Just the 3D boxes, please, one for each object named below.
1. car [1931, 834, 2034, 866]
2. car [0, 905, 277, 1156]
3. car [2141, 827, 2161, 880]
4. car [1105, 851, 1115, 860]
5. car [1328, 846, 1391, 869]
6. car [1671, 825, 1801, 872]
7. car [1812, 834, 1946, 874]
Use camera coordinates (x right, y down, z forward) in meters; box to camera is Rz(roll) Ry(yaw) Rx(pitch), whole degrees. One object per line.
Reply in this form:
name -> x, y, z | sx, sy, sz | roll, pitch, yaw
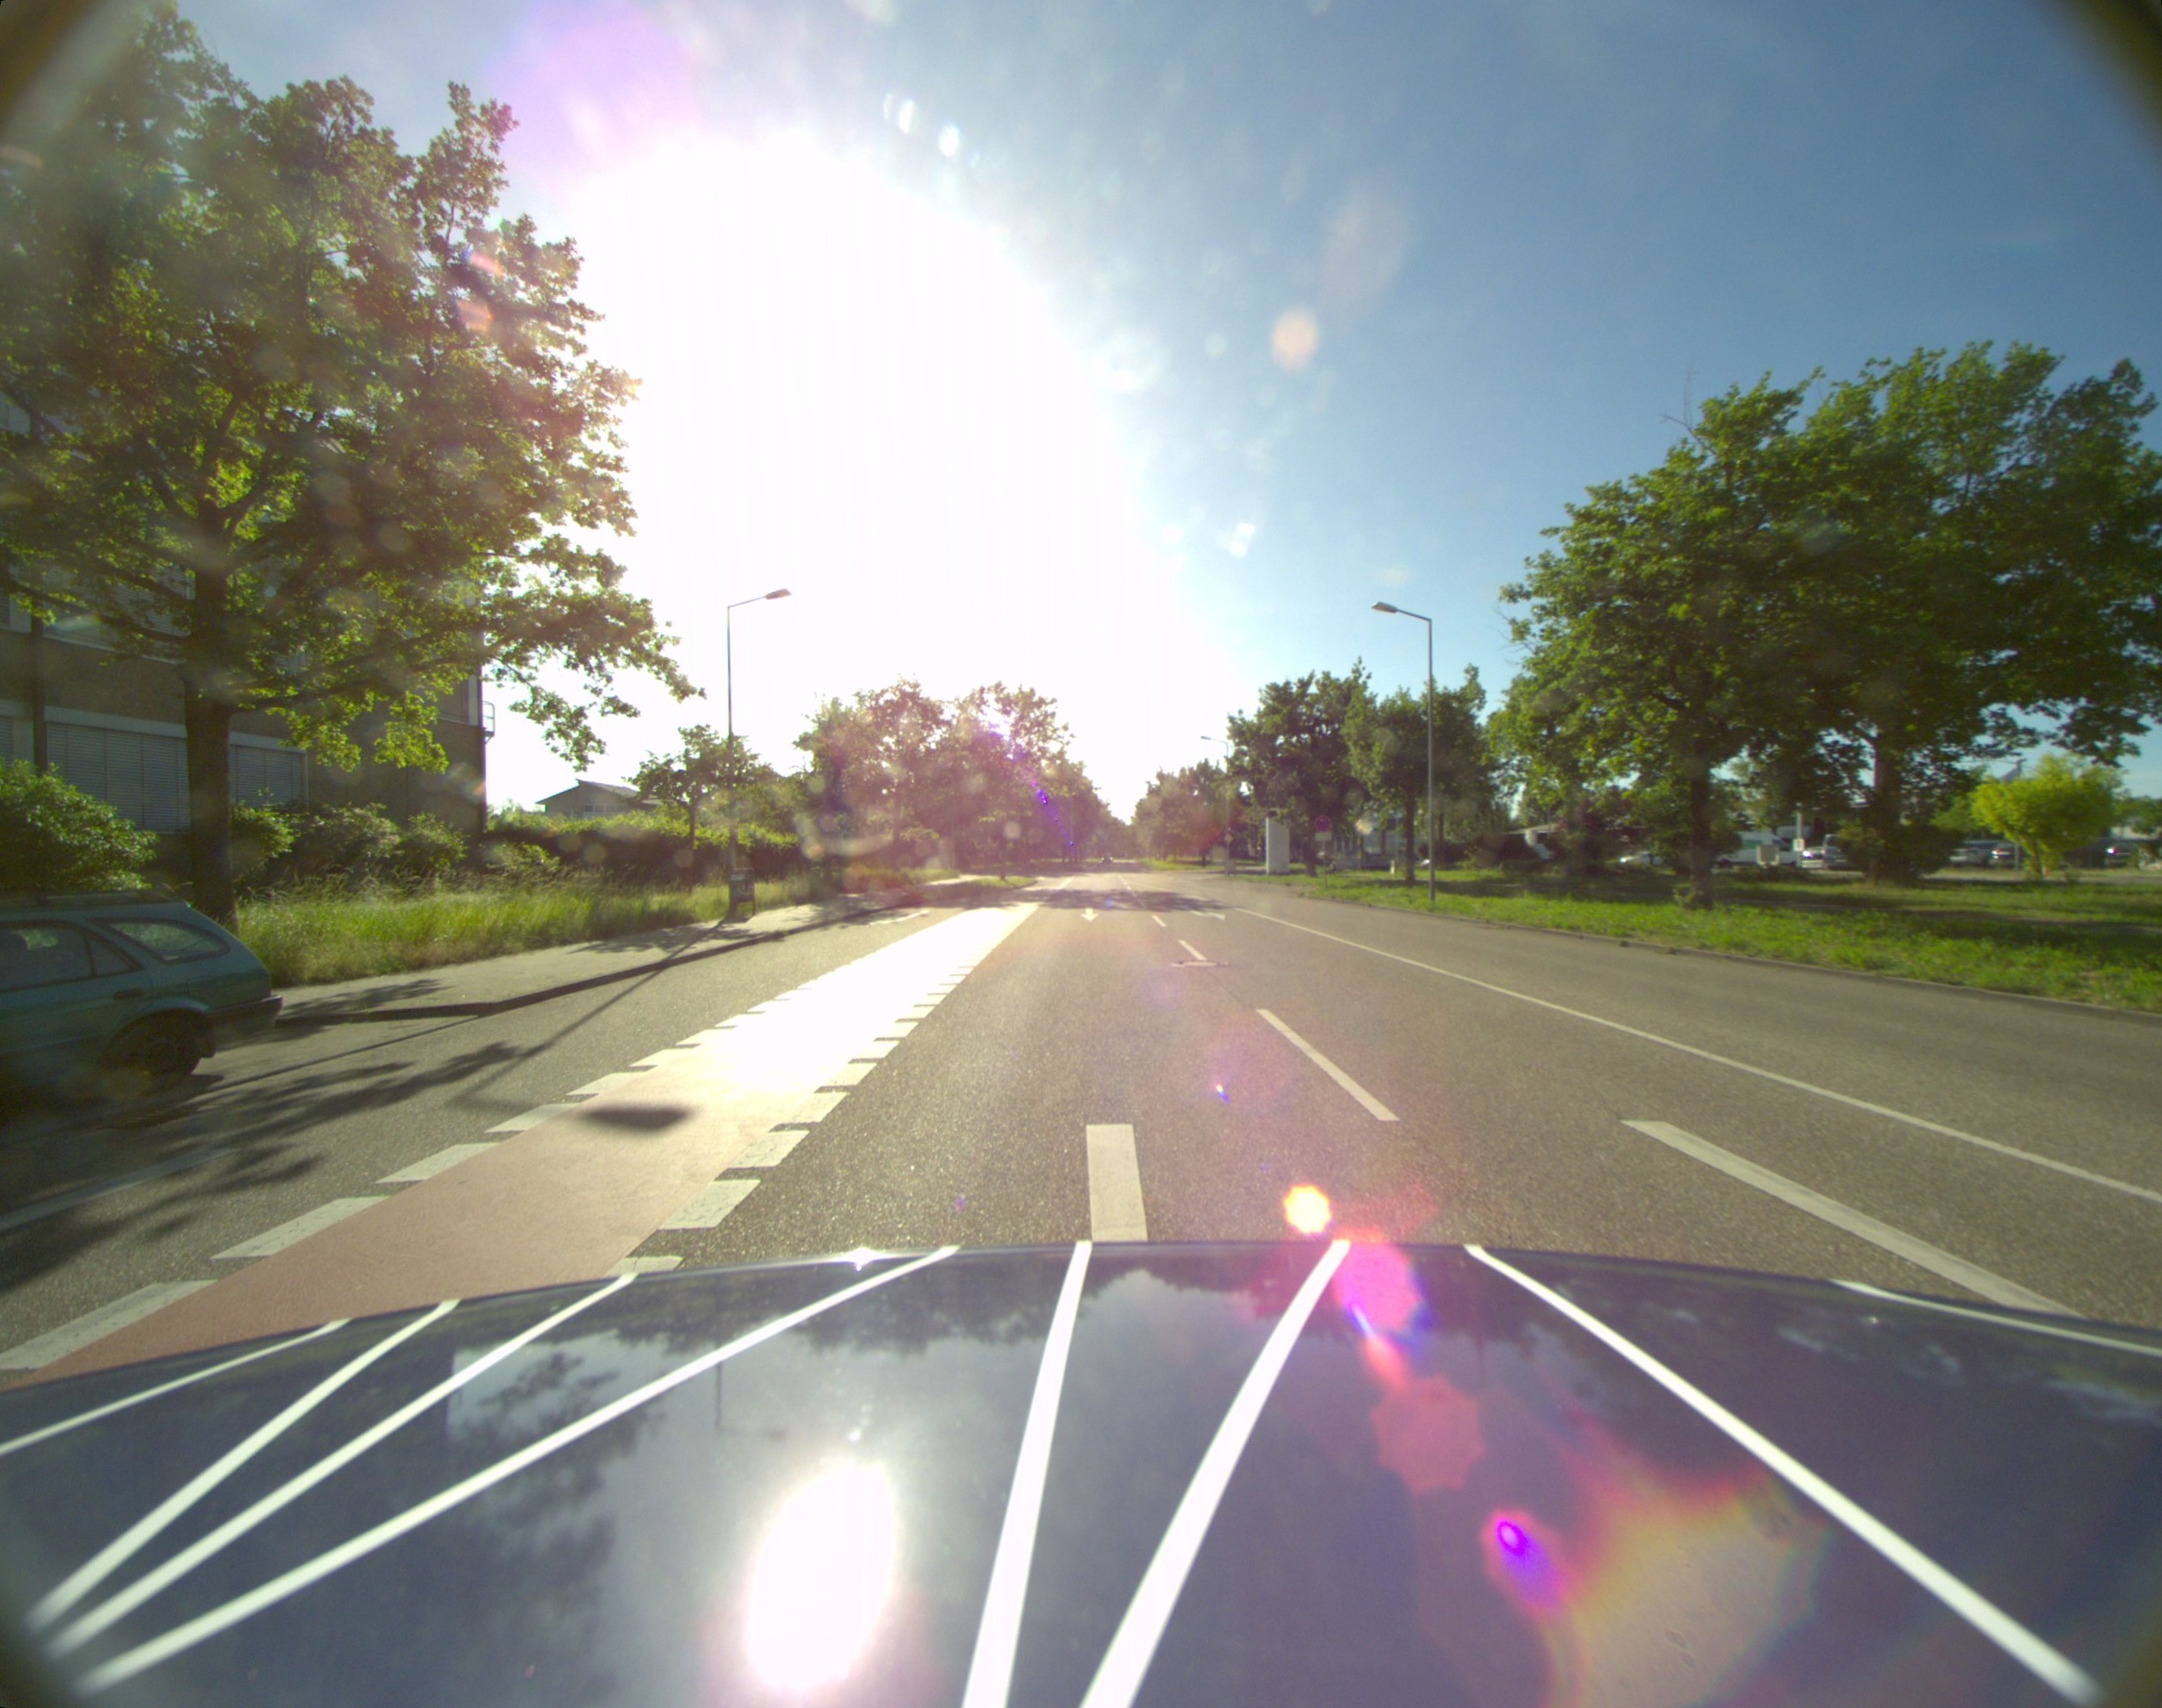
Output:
car -> 52.086, -0.212, 43.957 | 3.860, 1.661, 1.762 | -2, 1, 0
car -> -7.527, 1.131, 4.217 | 1.706, 1.460, 4.141 | -1, -1, 0
car -> 33.886, -0.090, 22.037 | 3.817, 1.562, 1.736 | -2, -1, 0
car -> 4.611, 0.261, 120.896 | 1.653, 1.460, 3.941 | -1, 0, 2
car -> 23.926, 0.297, 65.368 | 4.637, 1.822, 2.000 | -2, 1, 0
car -> 39.898, -0.342, 46.395 | 6.023, 2.540, 2.409 | -2, 1, -4
car -> 40.059, -0.009, 38.218 | 4.642, 1.771, 1.990 | -2, 1, 0
